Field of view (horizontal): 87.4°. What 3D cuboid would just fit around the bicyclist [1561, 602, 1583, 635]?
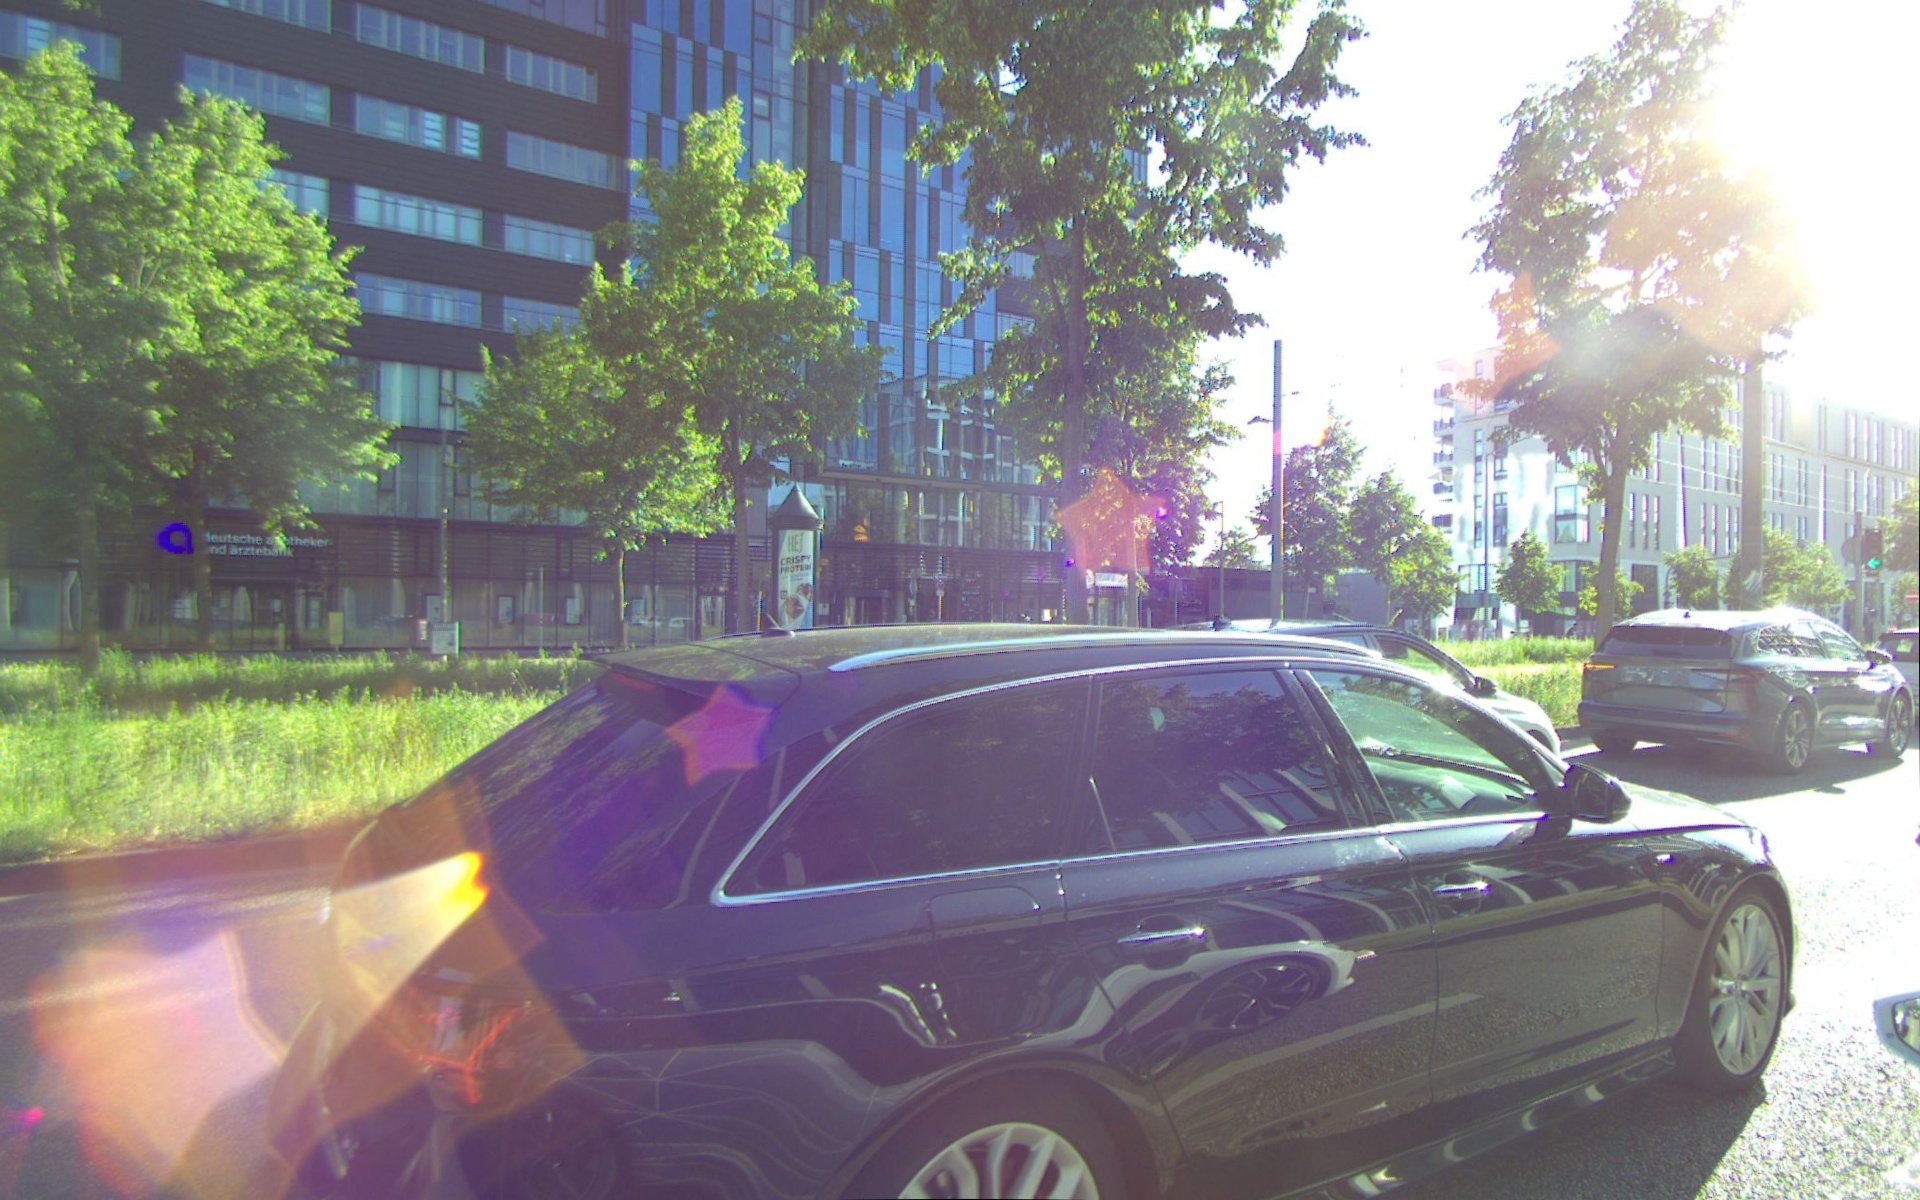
[{"bbox_3d":[39.426,1.186,64.741,0.808,2.120,0.935,1,-1,-30],"label":"bicyclist"}]

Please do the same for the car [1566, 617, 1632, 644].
[{"bbox_3d":[38.478,1.828,60.476,3.953,1.540,1.756,1,-1,-30],"label":"car"}]

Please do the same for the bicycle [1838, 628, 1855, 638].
[{"bbox_3d":[84.720,3.149,95.995,1.933,1.001,0.674,1,-1,-31],"label":"bicycle"}]

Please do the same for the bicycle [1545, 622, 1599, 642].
[{"bbox_3d":[39.412,2.033,64.721,0.808,1.206,2.928,1,-1,-30],"label":"bicycle"}]

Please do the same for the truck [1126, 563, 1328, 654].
[{"bbox_3d":[12.645,0.469,47.063,10.094,3.904,2.877,1,-1,-31],"label":"truck"}]

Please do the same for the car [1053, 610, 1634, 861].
[{"bbox_3d":[3.081,0.840,7.785,4.515,1.467,1.791,1,-1,-30],"label":"car"}]

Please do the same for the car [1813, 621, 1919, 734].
[{"bbox_3d":[15.202,1.148,15.546,4.519,1.503,1.788,1,2,-33],"label":"car"}]

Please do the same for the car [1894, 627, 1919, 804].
[{"bbox_3d":[10.096,0.983,8.676,4.288,1.445,1.833,1,-1,-30],"label":"car"}]

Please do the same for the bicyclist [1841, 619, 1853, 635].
[{"bbox_3d":[84.757,2.603,96.019,0.706,1.549,0.674,1,-1,-30],"label":"bicyclist"}]

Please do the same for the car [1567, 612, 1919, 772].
[{"bbox_3d":[8.934,0.928,11.236,4.516,1.466,1.790,2,-1,-31],"label":"car"}]

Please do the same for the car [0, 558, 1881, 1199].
[{"bbox_3d":[0.636,0.767,2.998,4.911,1.504,1.864,1,-1,-32],"label":"car"}]

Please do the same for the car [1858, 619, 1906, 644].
[{"bbox_3d":[79.036,2.710,86.111,3.953,2.040,1.984,1,-1,-30],"label":"car"}]
